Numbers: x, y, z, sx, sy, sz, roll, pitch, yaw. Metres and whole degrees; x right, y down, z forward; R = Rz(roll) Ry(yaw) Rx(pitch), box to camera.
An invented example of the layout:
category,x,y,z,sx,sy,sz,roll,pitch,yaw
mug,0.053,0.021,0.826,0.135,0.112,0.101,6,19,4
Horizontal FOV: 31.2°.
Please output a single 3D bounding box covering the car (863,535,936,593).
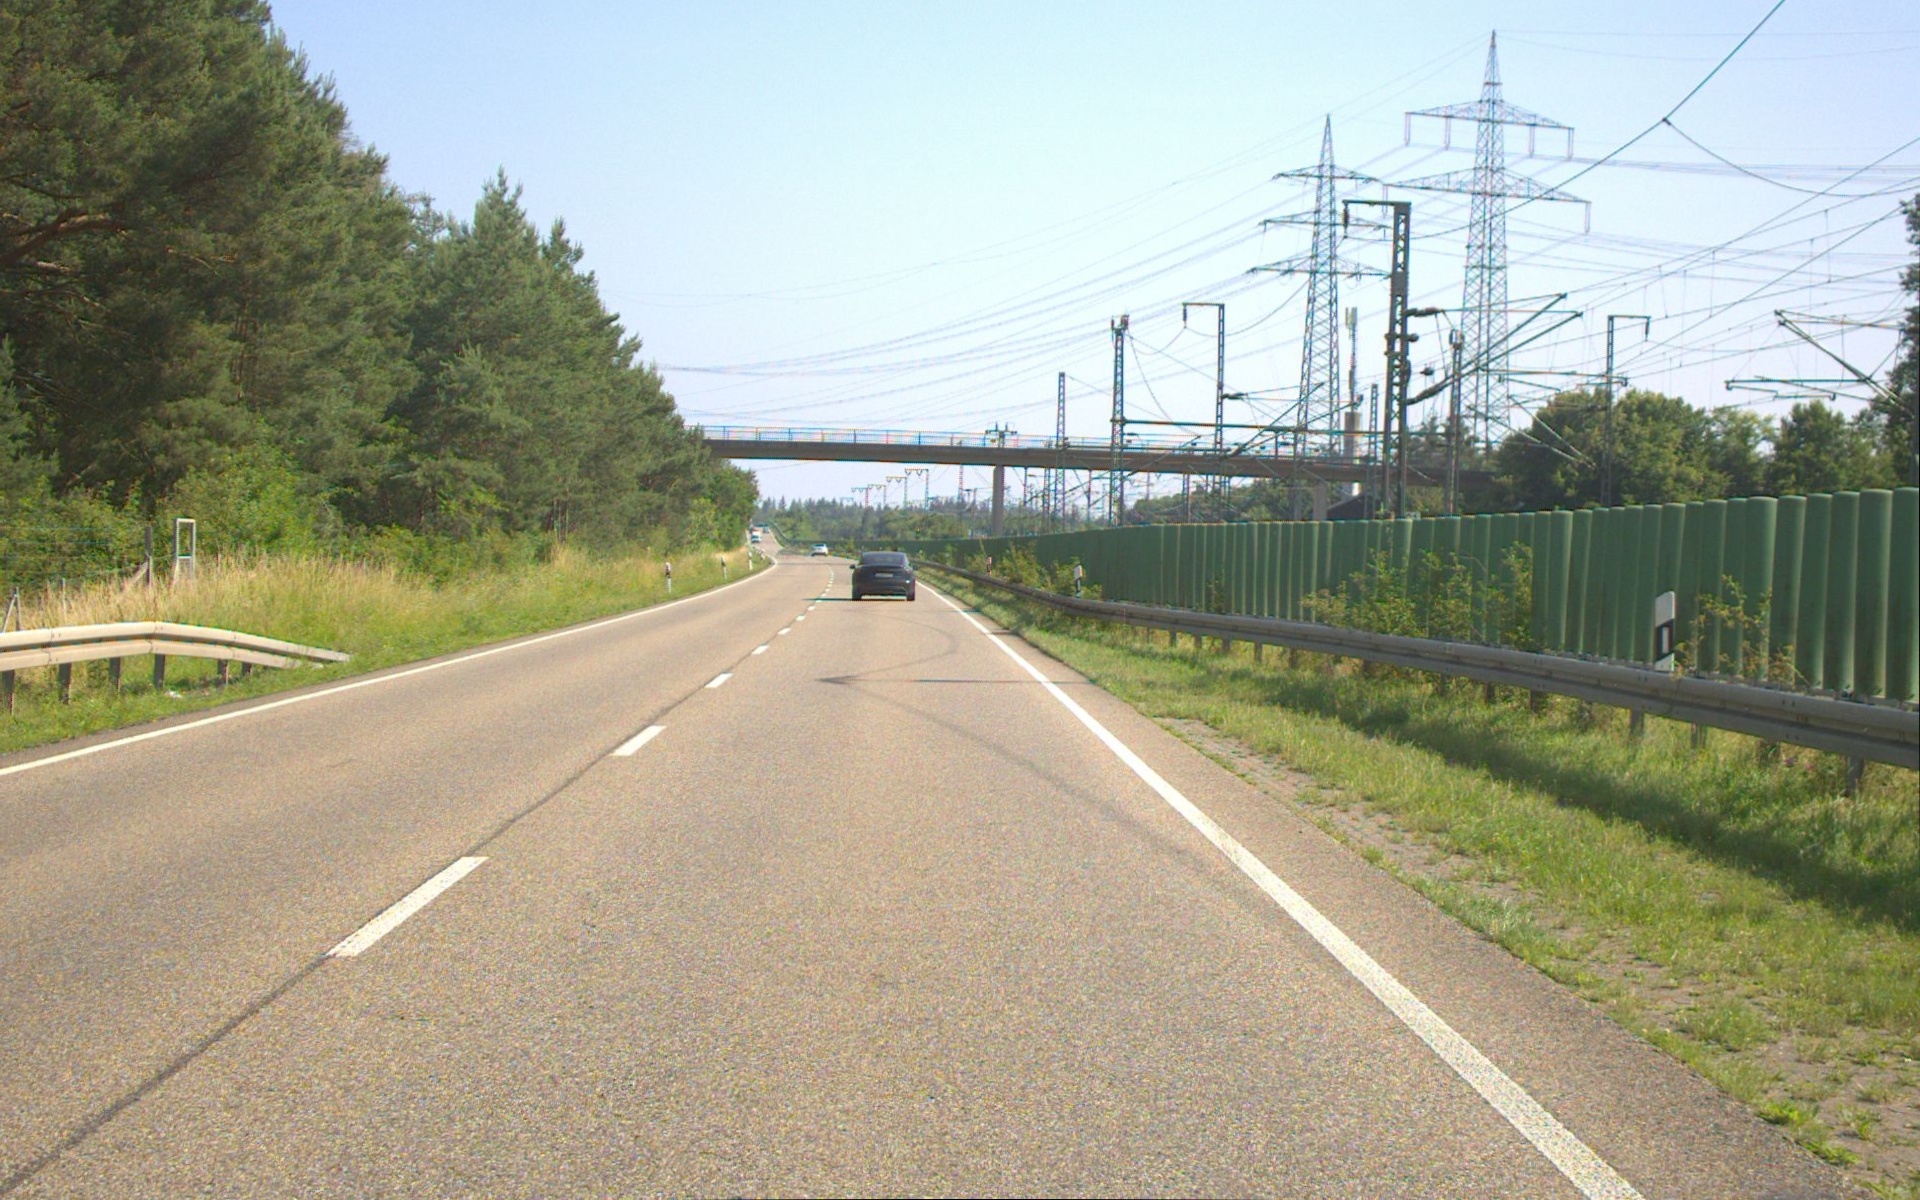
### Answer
category,x,y,z,sx,sy,sz,roll,pitch,yaw
car,-1.804,-1.082,101.192,1.858,1.636,4.001,0,1,-5
